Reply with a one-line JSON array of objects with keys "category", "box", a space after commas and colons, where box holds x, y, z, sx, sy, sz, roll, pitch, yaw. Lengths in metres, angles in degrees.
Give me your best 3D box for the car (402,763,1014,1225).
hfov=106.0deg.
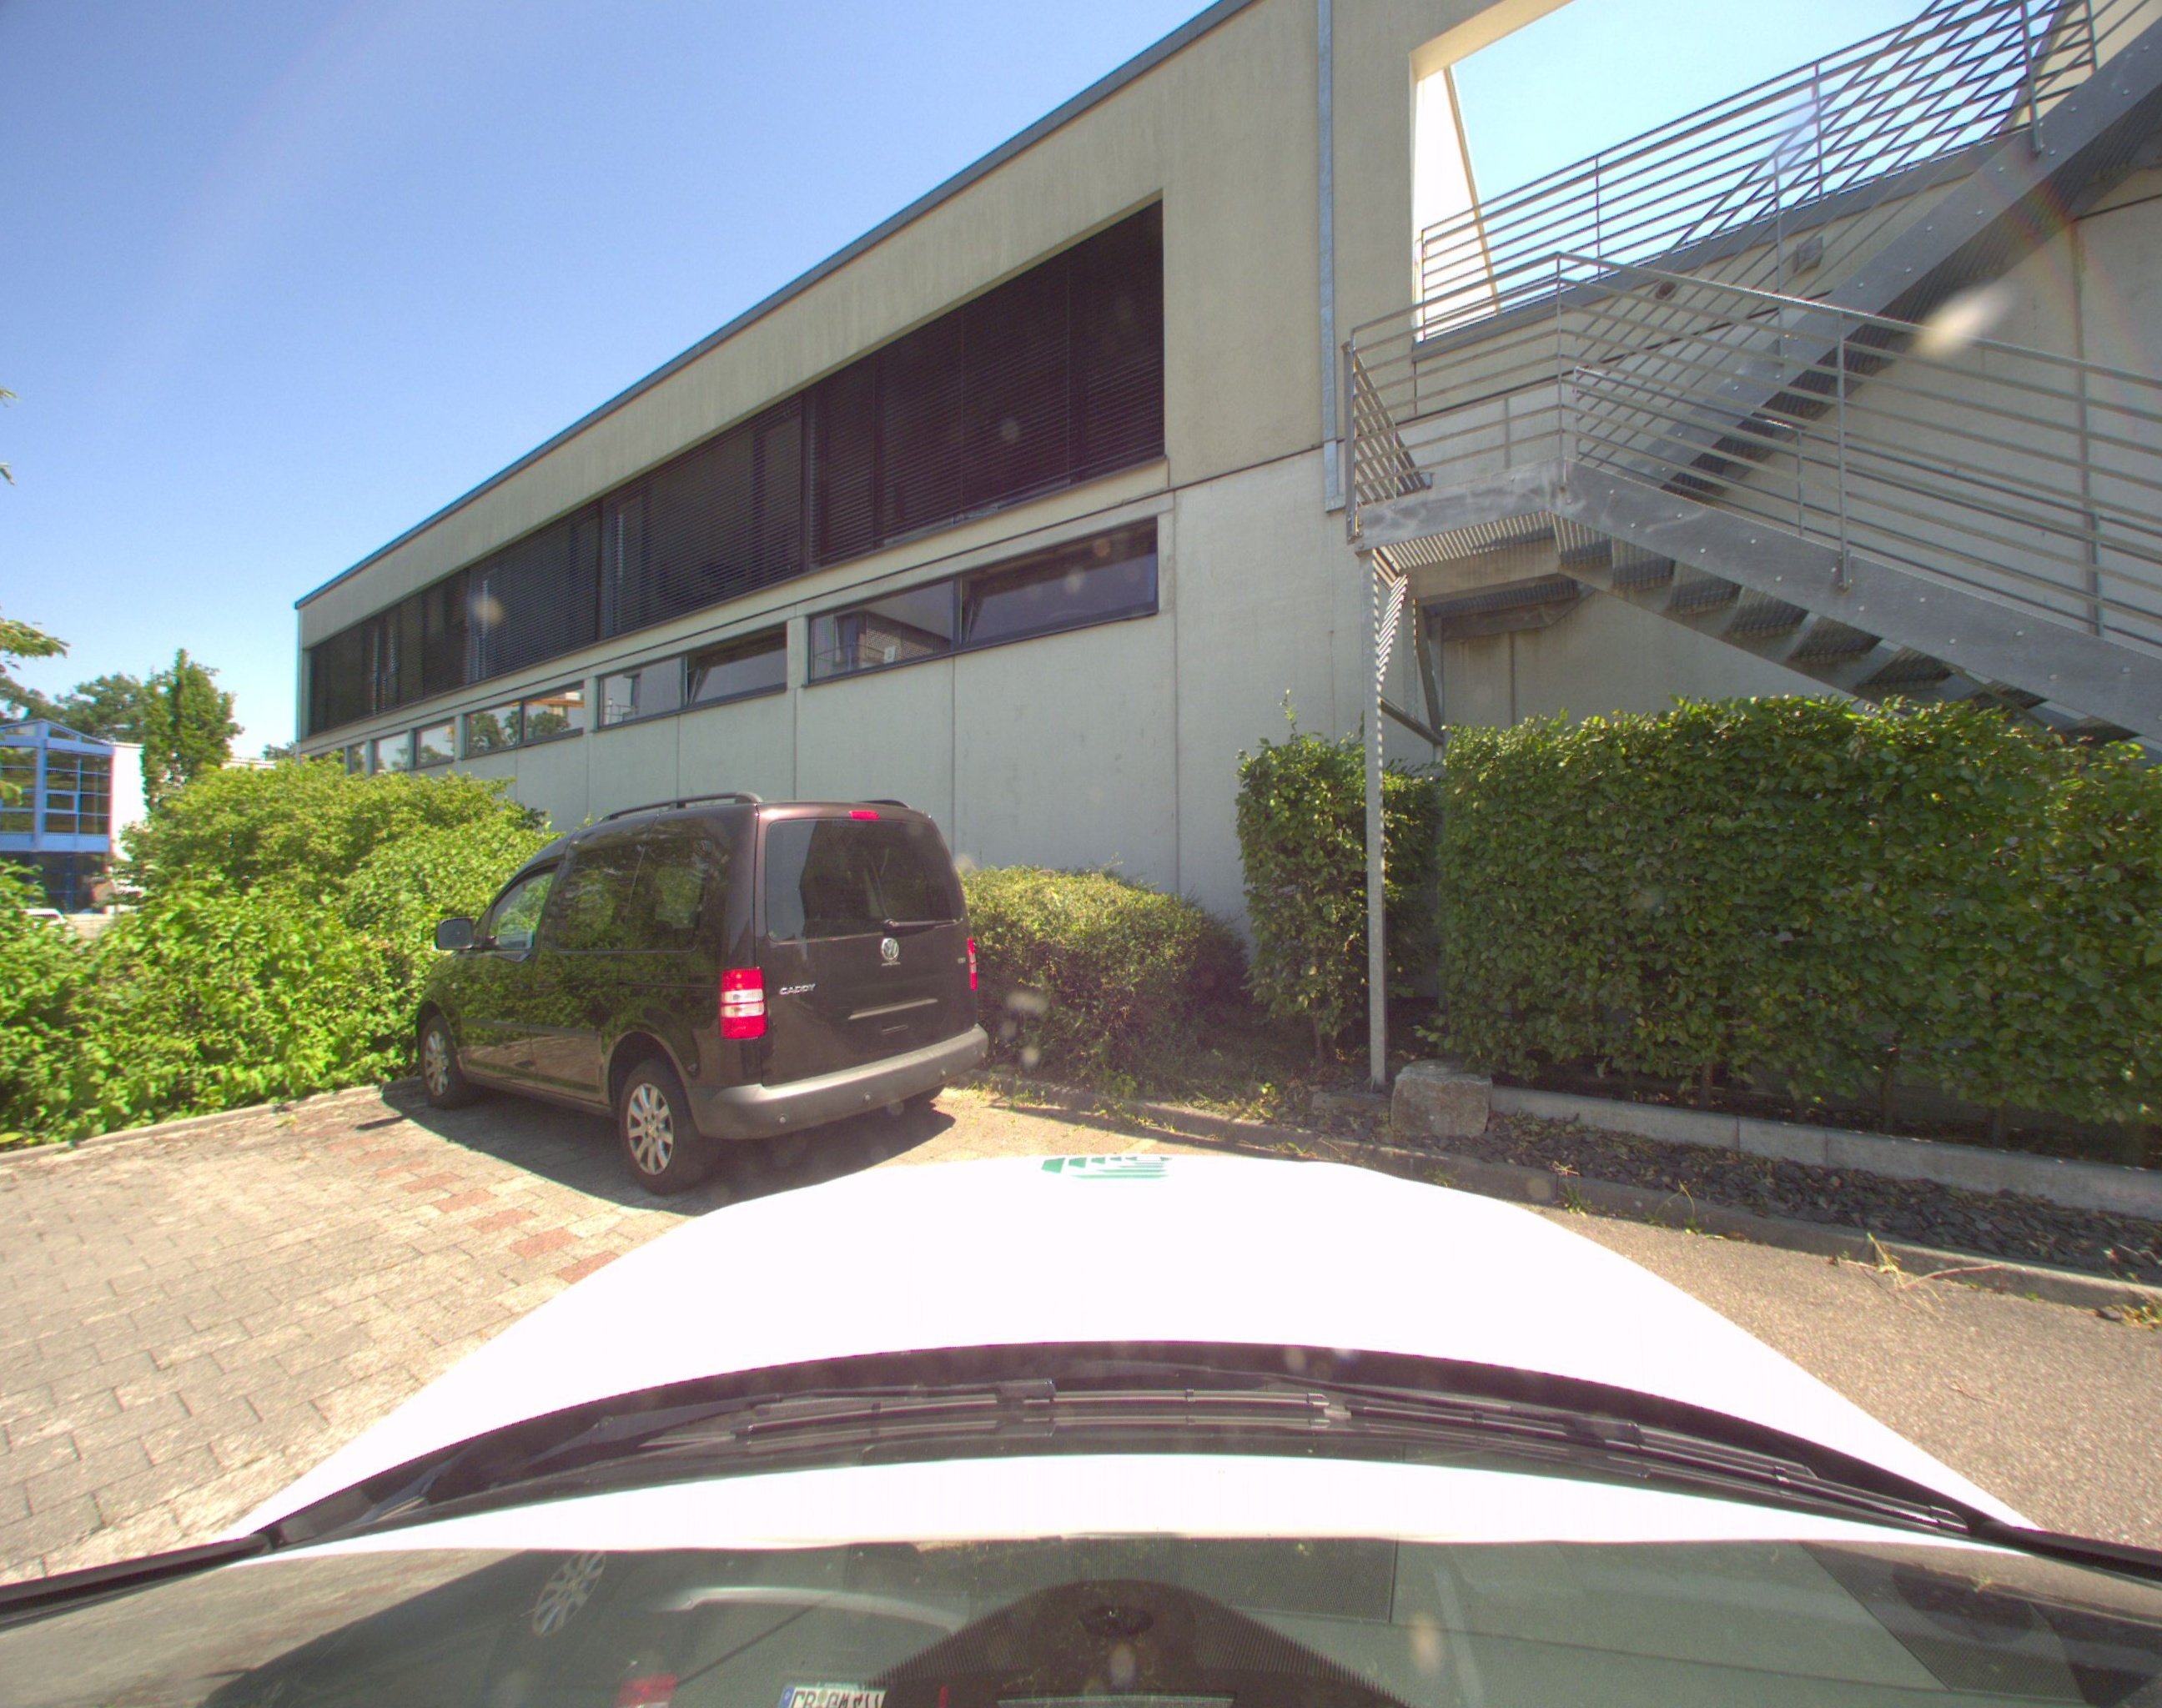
[{"category": "car", "box": [-2.535, 0.600, 5.161, 4.018, 1.884, 1.689, -1, -1, 35]}]
